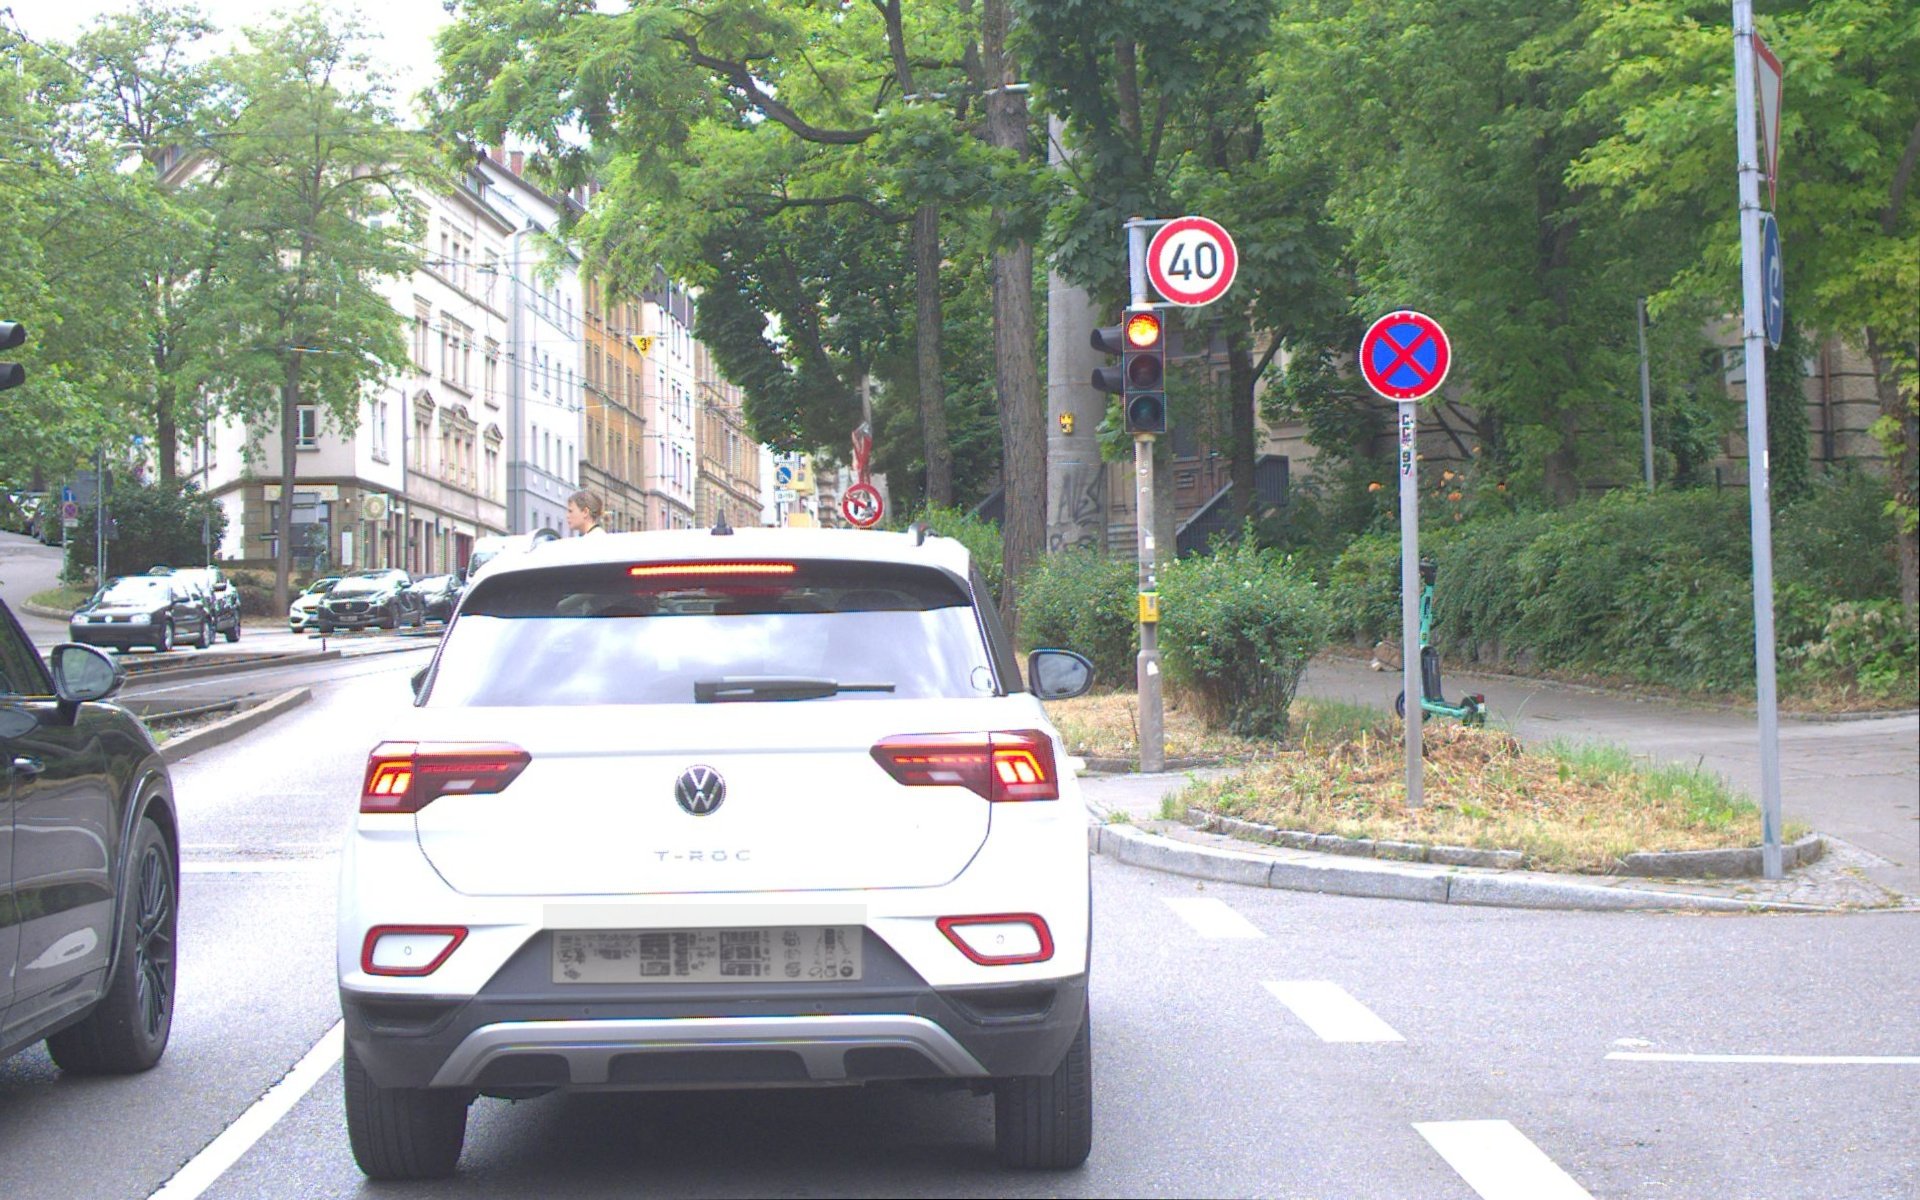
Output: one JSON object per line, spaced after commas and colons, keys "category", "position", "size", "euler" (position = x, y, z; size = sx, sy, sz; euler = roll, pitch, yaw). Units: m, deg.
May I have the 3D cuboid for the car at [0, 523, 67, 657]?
{"category": "car", "position": [-15.754, -0.152, 54.724], "size": [1.993, 2.007, 4.000], "euler": [2, -2, -1]}

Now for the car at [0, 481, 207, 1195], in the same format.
{"category": "car", "position": [-3.286, 0.567, 8.355], "size": [2.027, 1.679, 4.781], "euler": [0, -1, -2]}

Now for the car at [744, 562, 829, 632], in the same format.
{"category": "car", "position": [-4.448, -0.067, 88.595], "size": [1.993, 1.618, 4.000], "euler": [2, -2, -1]}

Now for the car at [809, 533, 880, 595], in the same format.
{"category": "car", "position": [-4.180, -1.329, 125.417], "size": [2.421, 2.162, 6.034], "euler": [-1, 1, 0]}

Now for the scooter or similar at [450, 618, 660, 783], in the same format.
{"category": "scooter or similar", "position": [-2.545, 0.628, 21.664], "size": [1.187, 0.991, 0.531], "euler": [-1, 1, 10]}

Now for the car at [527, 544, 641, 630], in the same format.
{"category": "car", "position": [-7.944, -0.257, 72.907], "size": [1.839, 1.734, 4.000], "euler": [1, 0, 2]}

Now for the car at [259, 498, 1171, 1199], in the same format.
{"category": "car", "position": [-0.706, 0.579, 9.387], "size": [1.938, 1.561, 4.047], "euler": [1, 0, -5]}

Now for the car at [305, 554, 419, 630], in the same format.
{"category": "car", "position": [-14.114, -0.170, 81.359], "size": [1.993, 1.618, 4.000], "euler": [2, -2, -1]}

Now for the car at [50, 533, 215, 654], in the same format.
{"category": "car", "position": [-14.999, -0.076, 62.492], "size": [1.993, 2.007, 4.000], "euler": [2, -2, -1]}

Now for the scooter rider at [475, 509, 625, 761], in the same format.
{"category": "scooter rider", "position": [-2.579, 0.214, 21.661], "size": [0.778, 1.552, 0.532], "euler": [-1, 1, 9]}

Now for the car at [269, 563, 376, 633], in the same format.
{"category": "car", "position": [-16.328, -0.035, 88.228], "size": [1.993, 1.618, 4.000], "euler": [2, -2, -1]}

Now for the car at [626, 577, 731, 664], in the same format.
{"category": "car", "position": [-5.539, 0.427, 68.039], "size": [1.902, 1.569, 3.834], "euler": [2, -2, -3]}

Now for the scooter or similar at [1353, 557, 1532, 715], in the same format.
{"category": "scooter or similar", "position": [3.448, 0.253, 24.665], "size": [0.474, 1.096, 1.369], "euler": [-2, 1, -32]}

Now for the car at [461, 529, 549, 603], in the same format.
{"category": "car", "position": [-12.926, -0.960, 97.876], "size": [1.993, 2.007, 4.000], "euler": [-1, 1, -1]}
